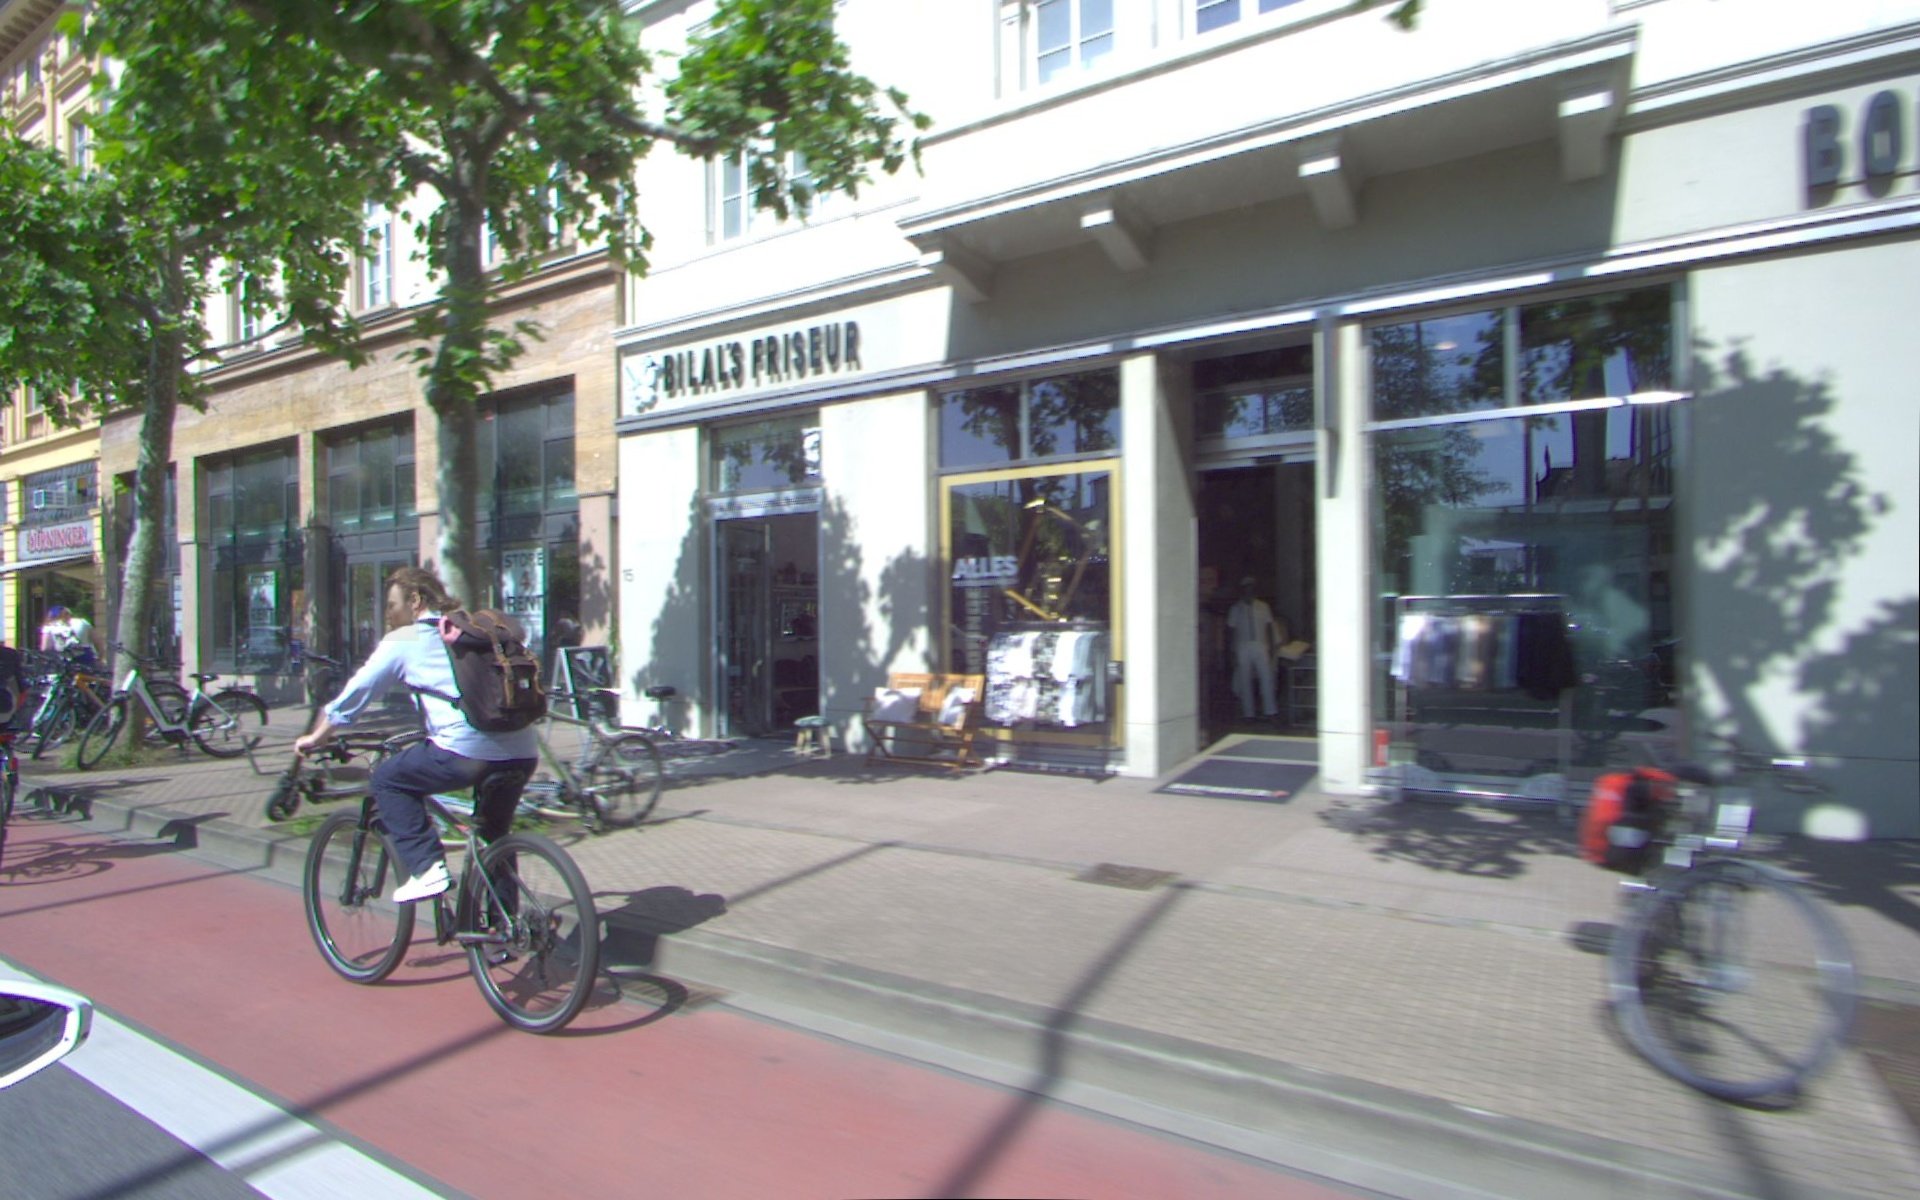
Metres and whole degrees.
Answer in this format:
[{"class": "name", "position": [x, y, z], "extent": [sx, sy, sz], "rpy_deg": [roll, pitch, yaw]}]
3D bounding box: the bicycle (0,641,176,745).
[{"class": "bicycle", "position": [-10.341, 1.058, 11.776], "extent": [0.397, 1.123, 1.724], "rpy_deg": [0, -1, 34]}]

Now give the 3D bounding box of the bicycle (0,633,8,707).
[{"class": "bicycle", "position": [-16.499, 1.142, 15.973], "extent": [0.468, 1.216, 1.839], "rpy_deg": [0, -1, 34]}]

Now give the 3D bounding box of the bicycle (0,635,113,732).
[{"class": "bicycle", "position": [-12.287, 1.076, 13.145], "extent": [0.471, 1.233, 1.724], "rpy_deg": [0, -1, 34]}]

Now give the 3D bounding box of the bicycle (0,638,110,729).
[{"class": "bicycle", "position": [-12.633, 1.113, 13.495], "extent": [0.471, 1.177, 1.724], "rpy_deg": [0, -1, 34]}]

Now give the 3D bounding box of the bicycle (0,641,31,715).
[{"class": "bicycle", "position": [-14.956, 1.169, 14.841], "extent": [0.598, 1.109, 1.645], "rpy_deg": [0, -1, 34]}]

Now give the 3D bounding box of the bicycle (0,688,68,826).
[{"class": "bicycle", "position": [-7.931, 1.206, 8.000], "extent": [2.056, 0.938, 0.599], "rpy_deg": [0, -1, 30]}]

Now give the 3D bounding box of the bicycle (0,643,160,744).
[{"class": "bicycle", "position": [-10.698, 1.092, 11.975], "extent": [0.397, 1.123, 1.724], "rpy_deg": [0, -1, 34]}]

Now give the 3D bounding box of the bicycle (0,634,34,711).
[{"class": "bicycle", "position": [-15.532, 1.161, 16.390], "extent": [1.637, 1.203, 0.470], "rpy_deg": [-1, -1, 44]}]

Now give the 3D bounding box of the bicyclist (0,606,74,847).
[{"class": "bicyclist", "position": [-6.154, 0.768, 6.237], "extent": [0.778, 1.459, 0.698], "rpy_deg": [0, -2, 29]}]

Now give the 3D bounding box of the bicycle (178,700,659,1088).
[{"class": "bicycle", "position": [-2.229, 1.029, 4.043], "extent": [2.050, 1.141, 0.698], "rpy_deg": [-1, -2, 29]}]

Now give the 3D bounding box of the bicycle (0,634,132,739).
[{"class": "bicycle", "position": [-11.371, 1.041, 12.349], "extent": [0.471, 1.233, 1.724], "rpy_deg": [0, -1, 34]}]

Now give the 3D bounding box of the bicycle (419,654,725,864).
[{"class": "bicycle", "position": [-2.528, 0.971, 6.735], "extent": [0.661, 1.201, 1.834], "rpy_deg": [-1, -3, 37]}]

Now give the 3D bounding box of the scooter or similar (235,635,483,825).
[{"class": "scooter or similar", "position": [-4.524, 0.925, 7.606], "extent": [0.663, 1.290, 1.467], "rpy_deg": [-1, -3, 43]}]

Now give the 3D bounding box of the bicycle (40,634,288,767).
[{"class": "bicycle", "position": [-8.358, 0.994, 10.609], "extent": [0.726, 1.264, 1.927], "rpy_deg": [0, -1, 34]}]

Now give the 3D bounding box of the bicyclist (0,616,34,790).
[{"class": "bicyclist", "position": [-7.927, 0.814, 7.994], "extent": [0.710, 1.375, 0.599], "rpy_deg": [0, -1, 30]}]

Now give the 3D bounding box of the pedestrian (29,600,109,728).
[{"class": "pedestrian", "position": [-11.790, 0.834, 13.256], "extent": [0.734, 1.633, 0.613], "rpy_deg": [0, -1, 33]}]

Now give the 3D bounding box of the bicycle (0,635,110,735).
[{"class": "bicycle", "position": [-11.978, 1.061, 12.727], "extent": [0.471, 1.233, 1.724], "rpy_deg": [0, -1, 34]}]

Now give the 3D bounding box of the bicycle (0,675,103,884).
[{"class": "bicycle", "position": [-6.321, 1.068, 6.321], "extent": [2.050, 1.141, 0.698], "rpy_deg": [-1, -2, 29]}]

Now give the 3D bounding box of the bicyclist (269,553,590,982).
[{"class": "bicyclist", "position": [-2.089, 0.592, 3.974], "extent": [0.946, 1.464, 0.698], "rpy_deg": [0, -2, 29]}]

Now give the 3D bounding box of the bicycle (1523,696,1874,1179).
[{"class": "bicycle", "position": [2.573, 0.956, 3.537], "extent": [0.784, 1.111, 1.834], "rpy_deg": [-1, -2, 37]}]

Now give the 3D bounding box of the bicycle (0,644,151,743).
[{"class": "bicycle", "position": [-11.027, 1.115, 12.227], "extent": [0.471, 1.123, 1.724], "rpy_deg": [0, -1, 34]}]

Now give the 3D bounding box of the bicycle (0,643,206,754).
[{"class": "bicycle", "position": [-9.660, 1.056, 11.281], "extent": [0.726, 1.123, 1.724], "rpy_deg": [0, -1, 34]}]
